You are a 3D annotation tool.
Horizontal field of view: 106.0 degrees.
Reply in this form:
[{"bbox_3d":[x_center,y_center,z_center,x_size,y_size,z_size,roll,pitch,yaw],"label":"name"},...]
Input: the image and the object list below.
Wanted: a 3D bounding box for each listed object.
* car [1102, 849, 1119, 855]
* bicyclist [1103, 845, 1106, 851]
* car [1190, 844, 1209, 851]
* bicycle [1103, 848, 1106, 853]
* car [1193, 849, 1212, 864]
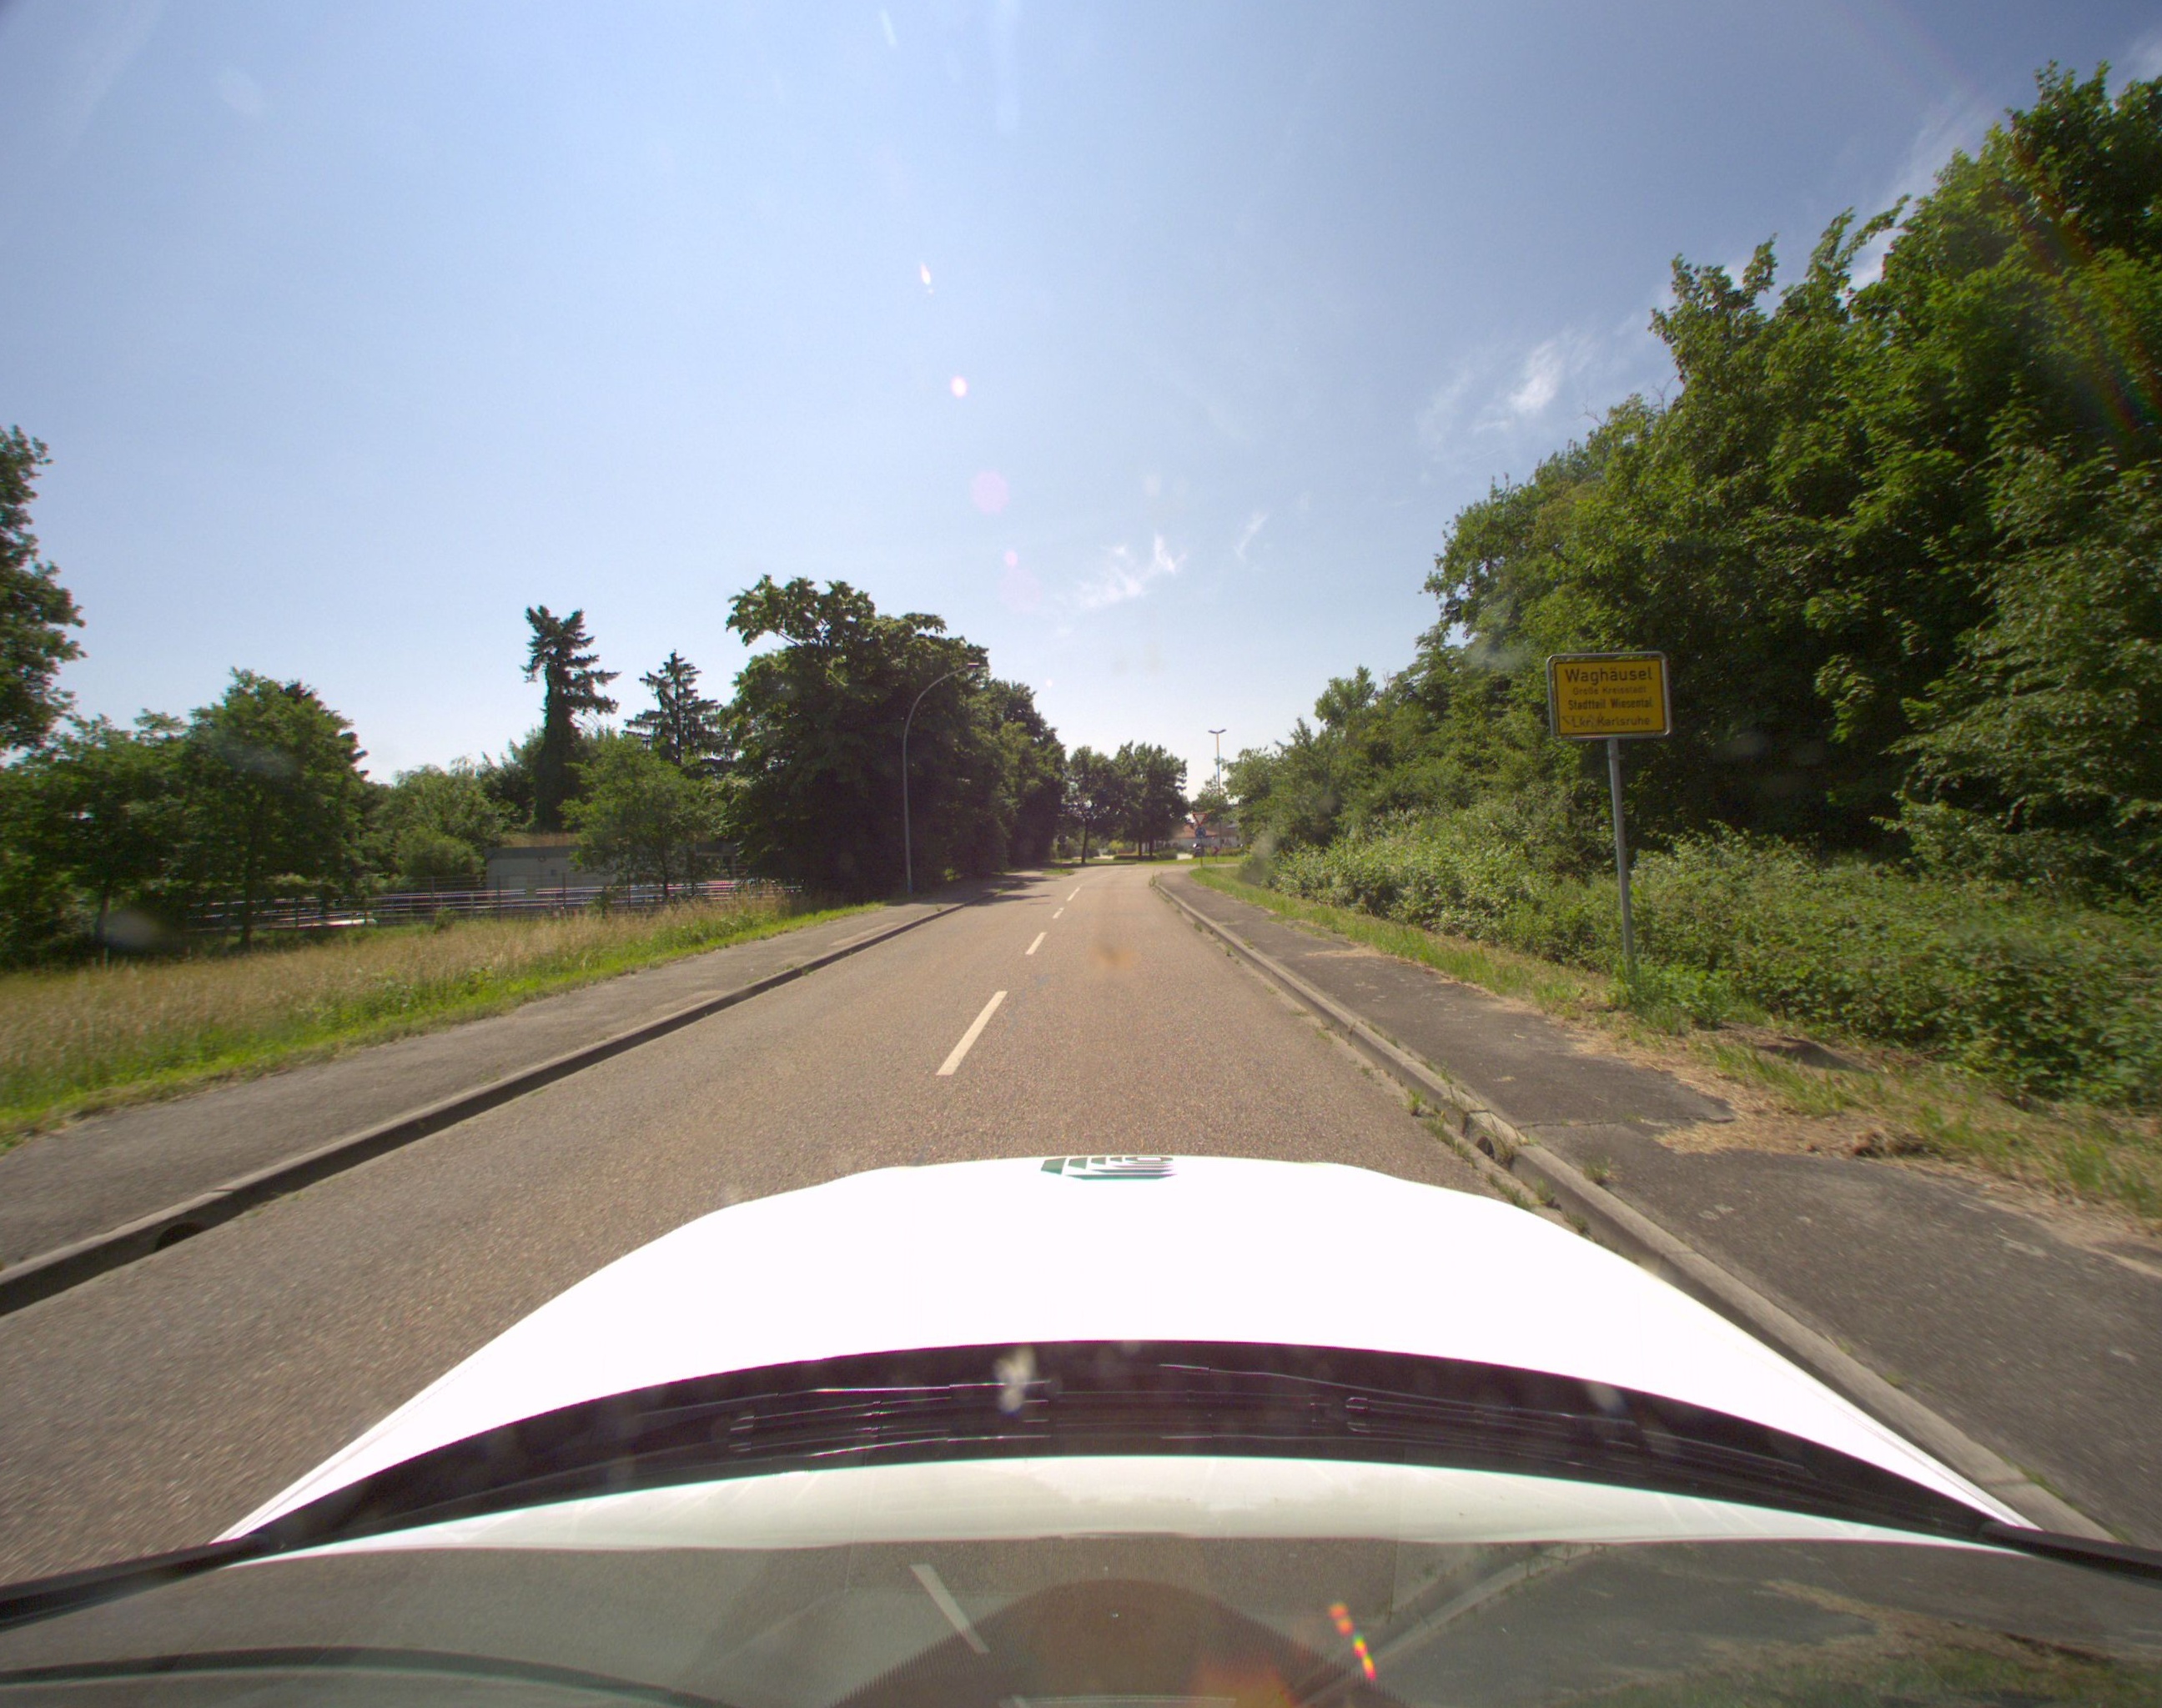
[{"bbox_3d":[6.526,-0.417,180.344,2.005,1.288,3.965,-2,0,-27],"label":"car"},{"bbox_3d":[4.414,-1.167,153.066,0.595,1.164,0.648,-2,0,1],"label":"bicyclist"},{"bbox_3d":[25.035,-1.384,172.168,3.856,1.542,1.832,-2,0,-41],"label":"car"},{"bbox_3d":[4.436,-0.700,153.166,0.595,0.929,1.620,-2,0,1],"label":"bicycle"},{"bbox_3d":[13.340,0.267,89.648,1.621,1.486,4.004,-3,0,3],"label":"car"}]
